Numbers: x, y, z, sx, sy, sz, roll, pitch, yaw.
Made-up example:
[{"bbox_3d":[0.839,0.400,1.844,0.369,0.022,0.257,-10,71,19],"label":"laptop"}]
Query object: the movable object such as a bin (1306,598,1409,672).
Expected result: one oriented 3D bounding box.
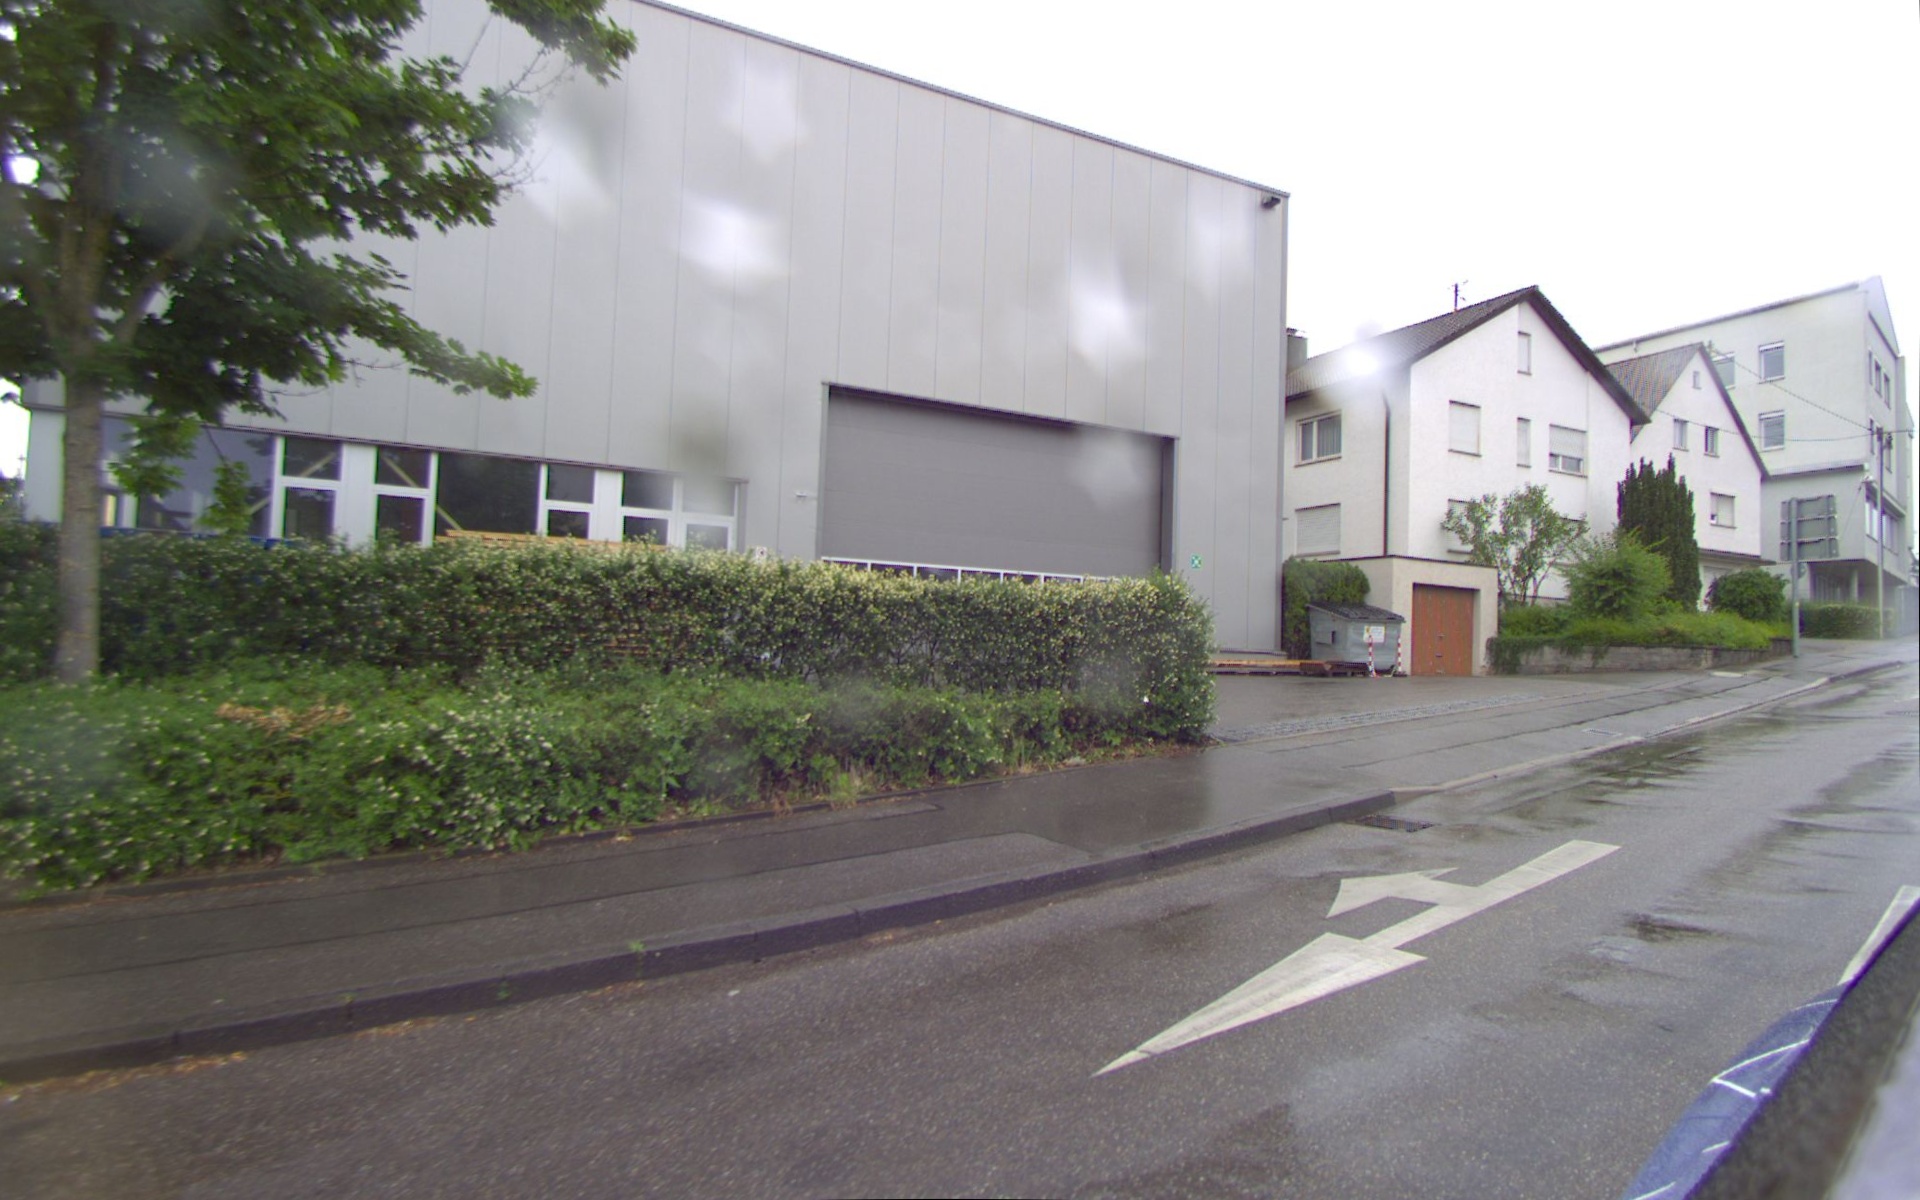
[{"bbox_3d":[8.832,0.759,22.525,1.556,1.555,1.451,2,-1,-25],"label":"movable object such as a bin"}]
